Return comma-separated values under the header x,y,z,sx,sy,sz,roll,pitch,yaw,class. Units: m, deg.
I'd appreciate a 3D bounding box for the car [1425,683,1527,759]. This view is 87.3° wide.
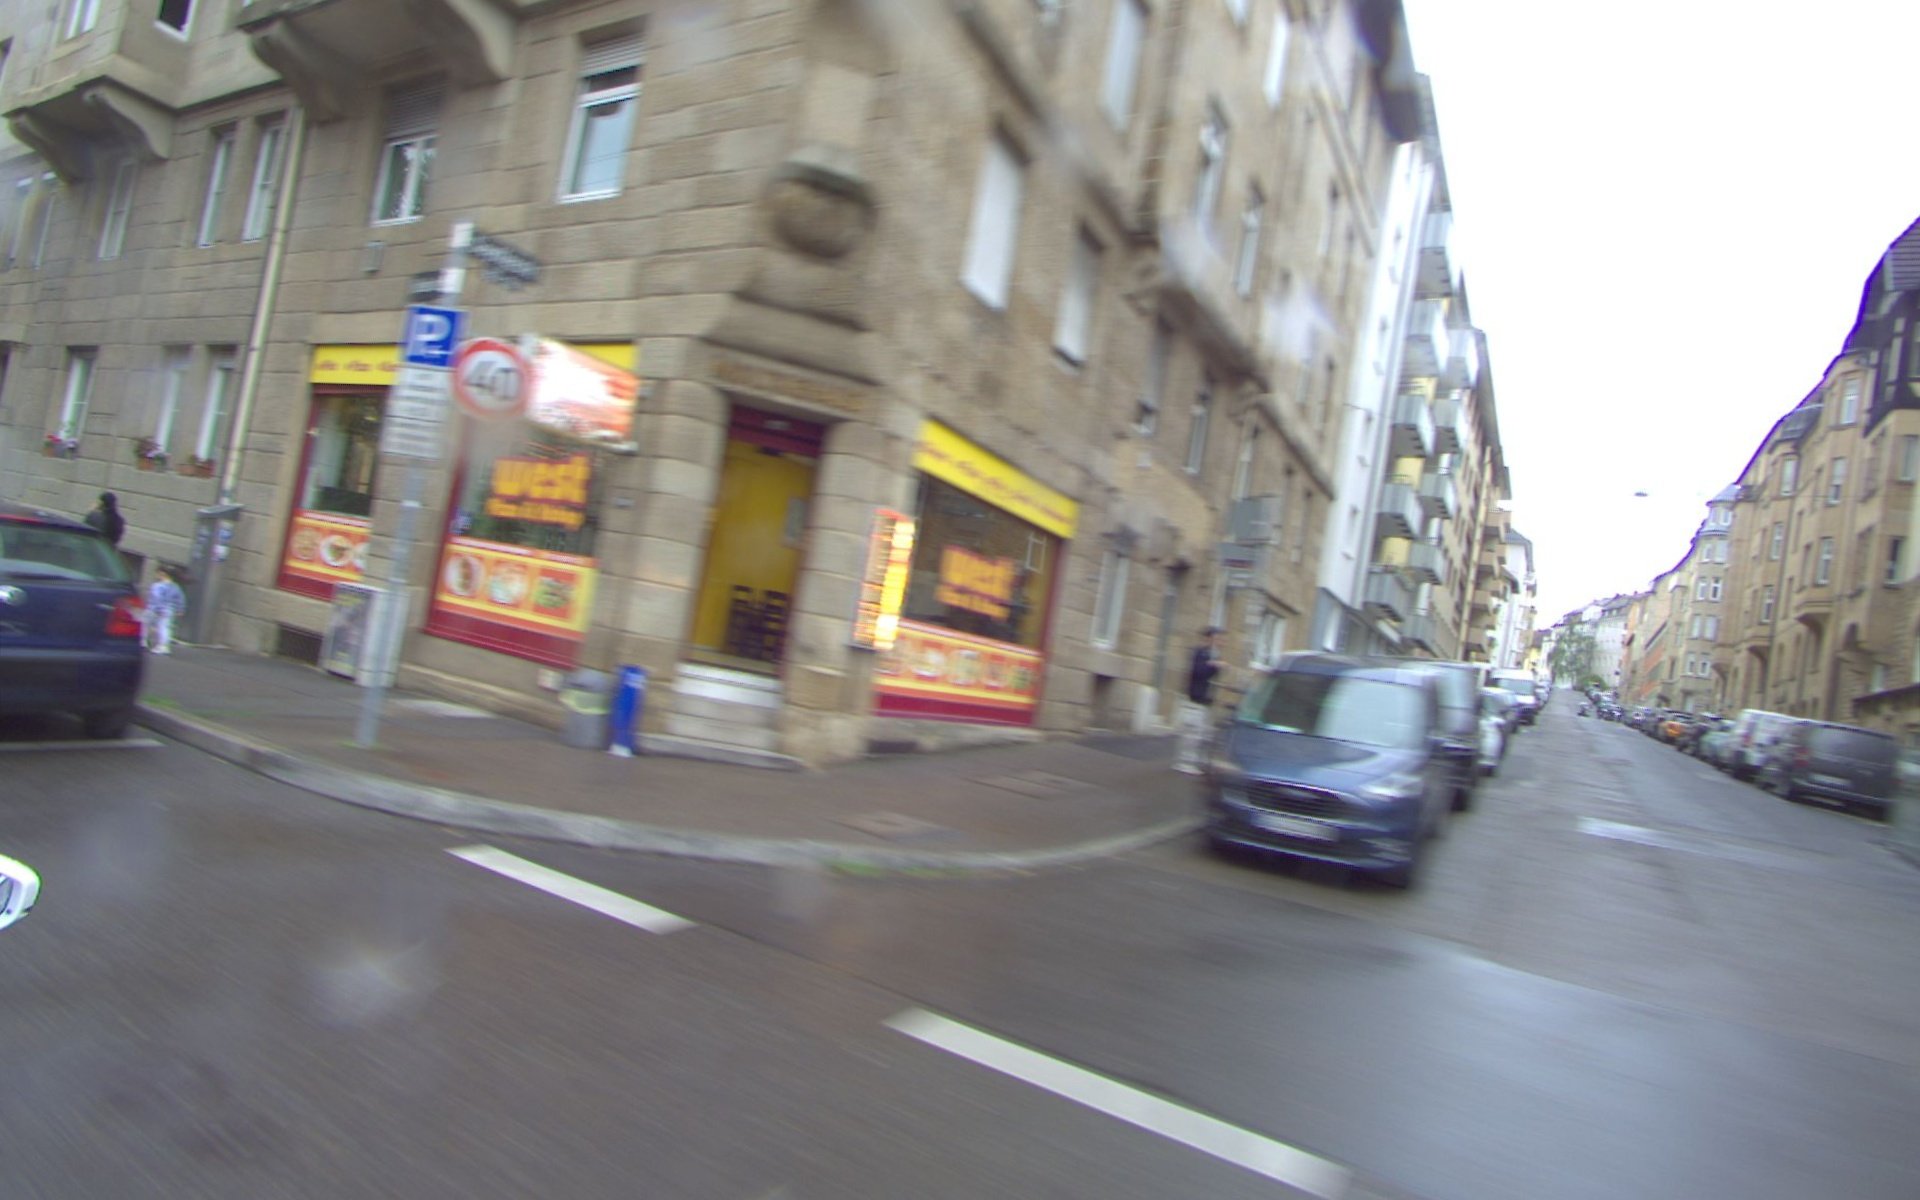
x,y,z,sx,sy,sz,roll,pitch,yaw,class
12.481,2.838,24.211,1.831,1.407,4.180,7,-1,30,car

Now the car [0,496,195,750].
x,y,z,sx,sy,sz,roll,pitch,yaw,class
-7.048,-0.044,6.795,3.727,1.461,1.674,7,-1,32,car

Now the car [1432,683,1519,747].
x,y,z,sx,sy,sz,roll,pitch,yaw,class
14.696,3.218,28.566,1.831,1.407,4.180,7,-1,30,car

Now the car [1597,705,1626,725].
x,y,z,sx,sy,sz,roll,pitch,yaw,class
61.379,10.800,94.812,1.893,1.521,4.418,8,-1,30,car

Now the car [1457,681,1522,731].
x,y,z,sx,sy,sz,roll,pitch,yaw,class
19.841,3.942,37.624,1.831,1.501,4.180,7,-1,30,car

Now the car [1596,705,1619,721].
x,y,z,sx,sy,sz,roll,pitch,yaw,class
73.776,12.903,114.663,1.893,1.521,4.418,8,-1,30,car

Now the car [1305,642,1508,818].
x,y,z,sx,sy,sz,roll,pitch,yaw,class
6.641,1.745,14.619,1.967,1.949,4.710,5,-1,32,car

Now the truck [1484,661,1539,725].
x,y,z,sx,sy,sz,roll,pitch,yaw,class
25.785,4.328,46.884,1.831,2.552,6.710,7,-1,30,truck

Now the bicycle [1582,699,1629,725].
x,y,z,sx,sy,sz,roll,pitch,yaw,class
48.711,8.451,75.969,2.794,1.613,0.962,6,-2,30,bicycle

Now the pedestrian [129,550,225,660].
x,y,z,sx,sy,sz,roll,pitch,yaw,class
-8.425,0.056,10.831,0.616,1.061,0.512,7,-2,31,pedestrian

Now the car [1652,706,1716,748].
x,y,z,sx,sy,sz,roll,pitch,yaw,class
32.917,5.750,45.854,1.794,1.521,4.101,8,-1,30,car

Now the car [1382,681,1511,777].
x,y,z,sx,sy,sz,roll,pitch,yaw,class
9.603,2.436,19.681,1.831,1.407,4.180,7,-1,30,car

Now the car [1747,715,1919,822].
x,y,z,sx,sy,sz,roll,pitch,yaw,class
19.017,3.578,22.100,1.893,1.759,4.480,8,-1,30,car

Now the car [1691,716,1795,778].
x,y,z,sx,sy,sz,roll,pitch,yaw,class
25.027,4.658,32.303,1.893,1.521,4.101,8,-1,30,car

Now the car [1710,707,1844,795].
x,y,z,sx,sy,sz,roll,pitch,yaw,class
21.787,3.971,27.030,1.893,1.825,4.480,8,-1,30,car

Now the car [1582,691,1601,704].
x,y,z,sx,sy,sz,roll,pitch,yaw,class
92.986,14.391,148.093,1.892,1.521,4.419,8,-1,29,car

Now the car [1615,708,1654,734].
x,y,z,sx,sy,sz,roll,pitch,yaw,class
48.887,8.769,72.939,1.893,1.521,4.101,8,-1,30,car

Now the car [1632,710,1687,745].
x,y,z,sx,sy,sz,roll,pitch,yaw,class
37.717,6.864,54.339,1.893,1.521,4.101,8,-1,30,car

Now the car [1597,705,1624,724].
x,y,z,sx,sy,sz,roll,pitch,yaw,class
67.261,11.834,104.062,1.893,1.521,4.418,8,-1,30,car

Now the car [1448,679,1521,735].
x,y,z,sx,sy,sz,roll,pitch,yaw,class
17.636,3.564,33.720,1.831,1.501,4.180,7,-1,30,car

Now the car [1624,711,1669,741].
x,y,z,sx,sy,sz,roll,pitch,yaw,class
43.631,8.014,64.006,1.893,1.521,4.101,8,-1,30,car

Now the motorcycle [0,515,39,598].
x,y,z,sx,sy,sz,roll,pitch,yaw,class
-15.802,-0.804,16.111,2.700,1.212,0.707,7,-3,32,motorcycle

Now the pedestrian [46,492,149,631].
x,y,z,sx,sy,sz,roll,pitch,yaw,class
-10.368,-0.459,12.098,0.698,1.552,0.562,7,-2,31,pedestrian

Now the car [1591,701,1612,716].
x,y,z,sx,sy,sz,roll,pitch,yaw,class
83.750,14.189,131.375,1.892,1.521,4.419,8,-1,29,car

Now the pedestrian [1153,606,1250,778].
x,y,z,sx,sy,sz,roll,pitch,yaw,class
3.083,1.167,12.819,0.744,2.037,0.627,10,0,32,pedestrian

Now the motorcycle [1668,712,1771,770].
x,y,z,sx,sy,sz,roll,pitch,yaw,class
26.449,4.887,35.086,2.537,1.521,0.982,9,0,15,motorcycle

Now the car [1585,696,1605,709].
x,y,z,sx,sy,sz,roll,pitch,yaw,class
89.324,14.401,141.528,1.892,1.521,4.419,8,-1,29,car

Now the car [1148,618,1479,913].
x,y,z,sx,sy,sz,roll,pitch,yaw,class
3.663,1.377,9.692,1.966,1.884,4.786,7,-1,30,car

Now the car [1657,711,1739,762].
x,y,z,sx,sy,sz,roll,pitch,yaw,class
28.043,5.162,38.363,1.893,1.521,4.101,8,-1,30,car

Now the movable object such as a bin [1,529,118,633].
x,y,z,sx,sy,sz,roll,pitch,yaw,class
-11.282,-0.241,12.605,1.105,1.115,0.667,7,-3,31,movable object such as a bin
